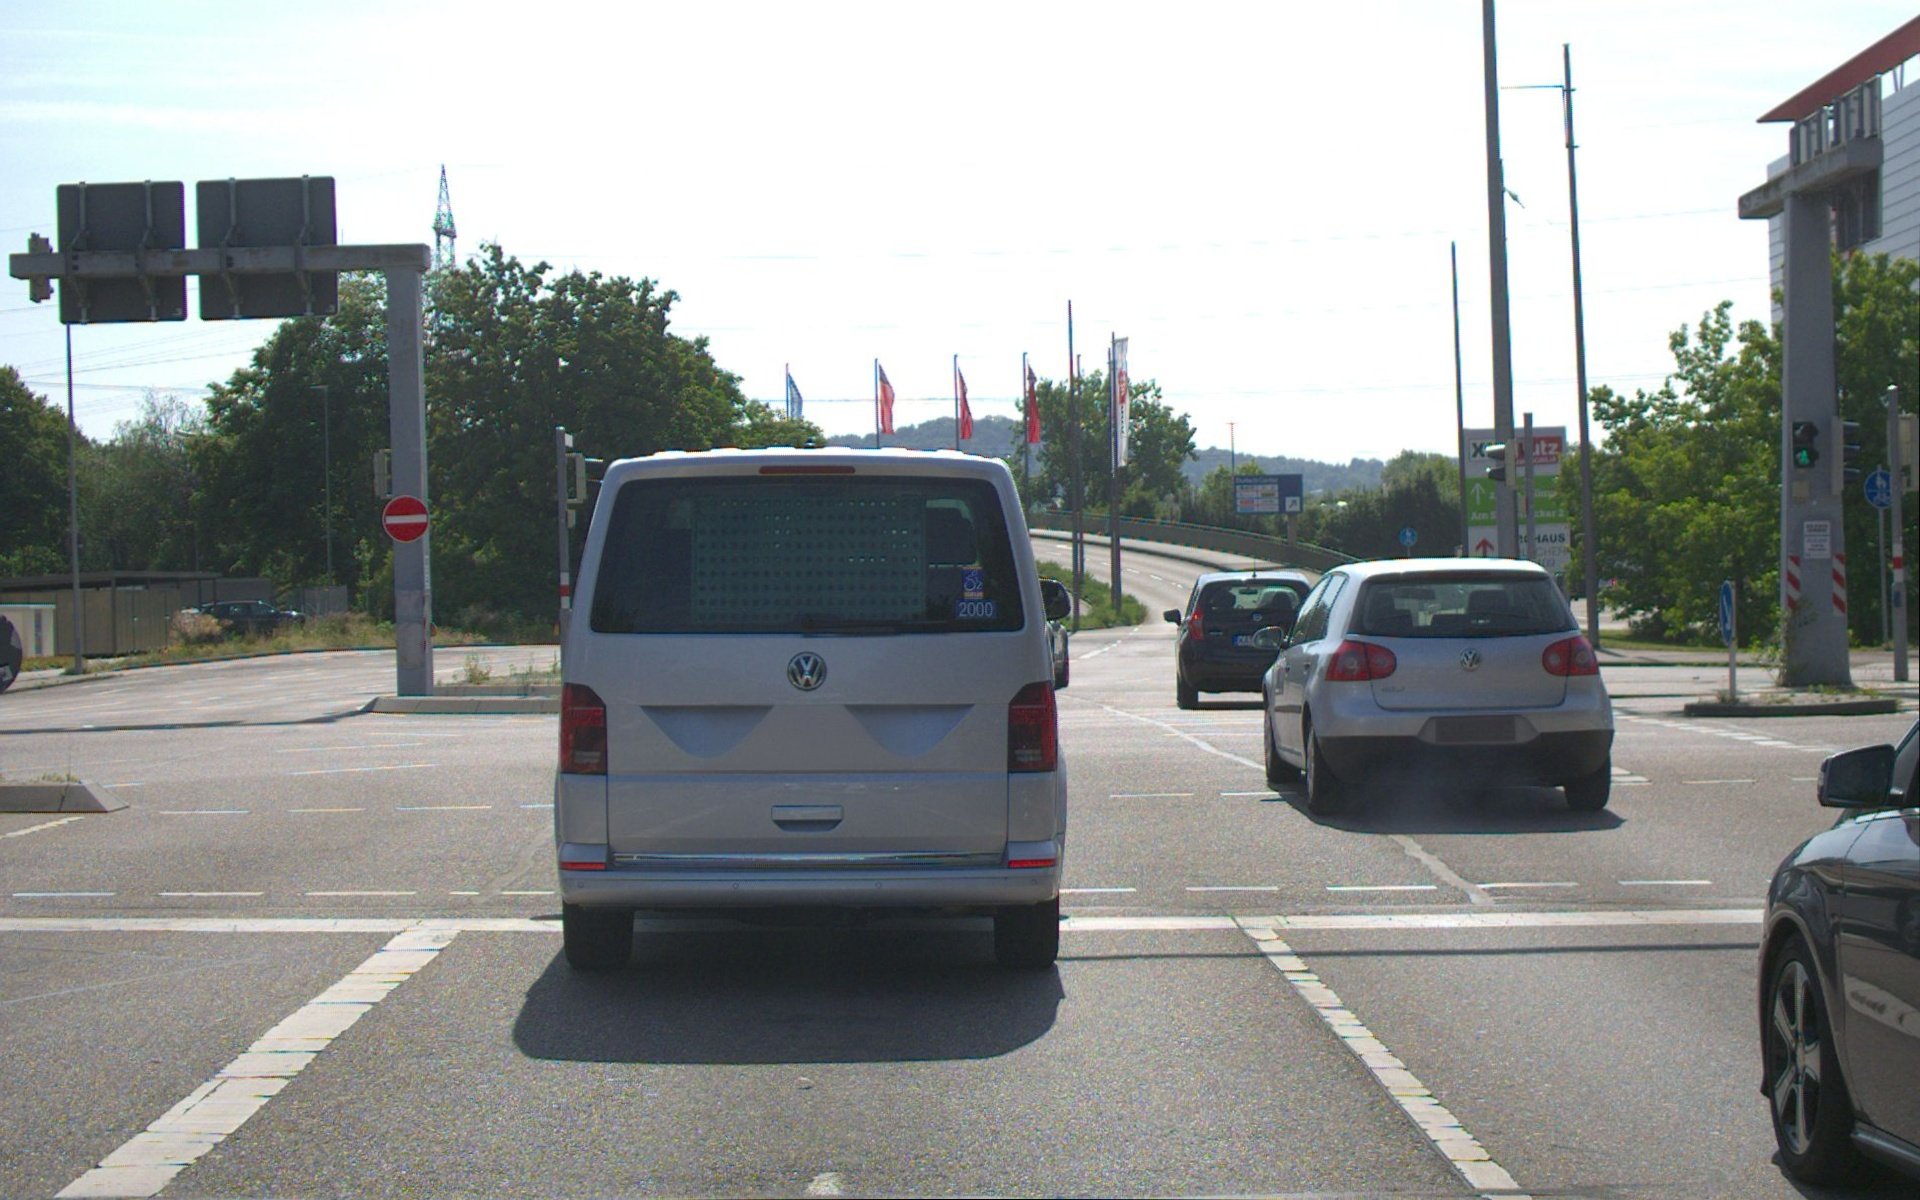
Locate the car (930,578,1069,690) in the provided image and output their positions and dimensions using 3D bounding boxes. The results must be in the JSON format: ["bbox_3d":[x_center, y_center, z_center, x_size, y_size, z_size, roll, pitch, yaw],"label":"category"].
[{"bbox_3d":[0.571,0.433,47.078,1.531,1.475,3.246,0,0,7],"label":"car"}]

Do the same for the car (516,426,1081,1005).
[{"bbox_3d":[-0.570,0.376,13.880,1.917,1.968,4.297,0,0,-1],"label":"car"}]

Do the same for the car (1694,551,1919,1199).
[{"bbox_3d":[2.851,0.671,6.916,1.773,1.533,4.138,0,1,-1],"label":"car"}]

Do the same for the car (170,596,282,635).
[{"bbox_3d":[-28.700,0.599,134.386,4.098,1.415,1.729,-1,-1,-19],"label":"car"}]

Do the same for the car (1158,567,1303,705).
[{"bbox_3d":[3.090,0.373,38.849,1.531,1.475,3.595,0,0,6],"label":"car"}]

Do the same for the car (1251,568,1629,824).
[{"bbox_3d":[2.812,0.515,20.844,1.666,1.409,3.683,0,0,-2],"label":"car"}]

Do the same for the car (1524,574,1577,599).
[{"bbox_3d":[35.918,-0.800,209.296,1.993,1.415,4.001,1,0,-9],"label":"car"}]
